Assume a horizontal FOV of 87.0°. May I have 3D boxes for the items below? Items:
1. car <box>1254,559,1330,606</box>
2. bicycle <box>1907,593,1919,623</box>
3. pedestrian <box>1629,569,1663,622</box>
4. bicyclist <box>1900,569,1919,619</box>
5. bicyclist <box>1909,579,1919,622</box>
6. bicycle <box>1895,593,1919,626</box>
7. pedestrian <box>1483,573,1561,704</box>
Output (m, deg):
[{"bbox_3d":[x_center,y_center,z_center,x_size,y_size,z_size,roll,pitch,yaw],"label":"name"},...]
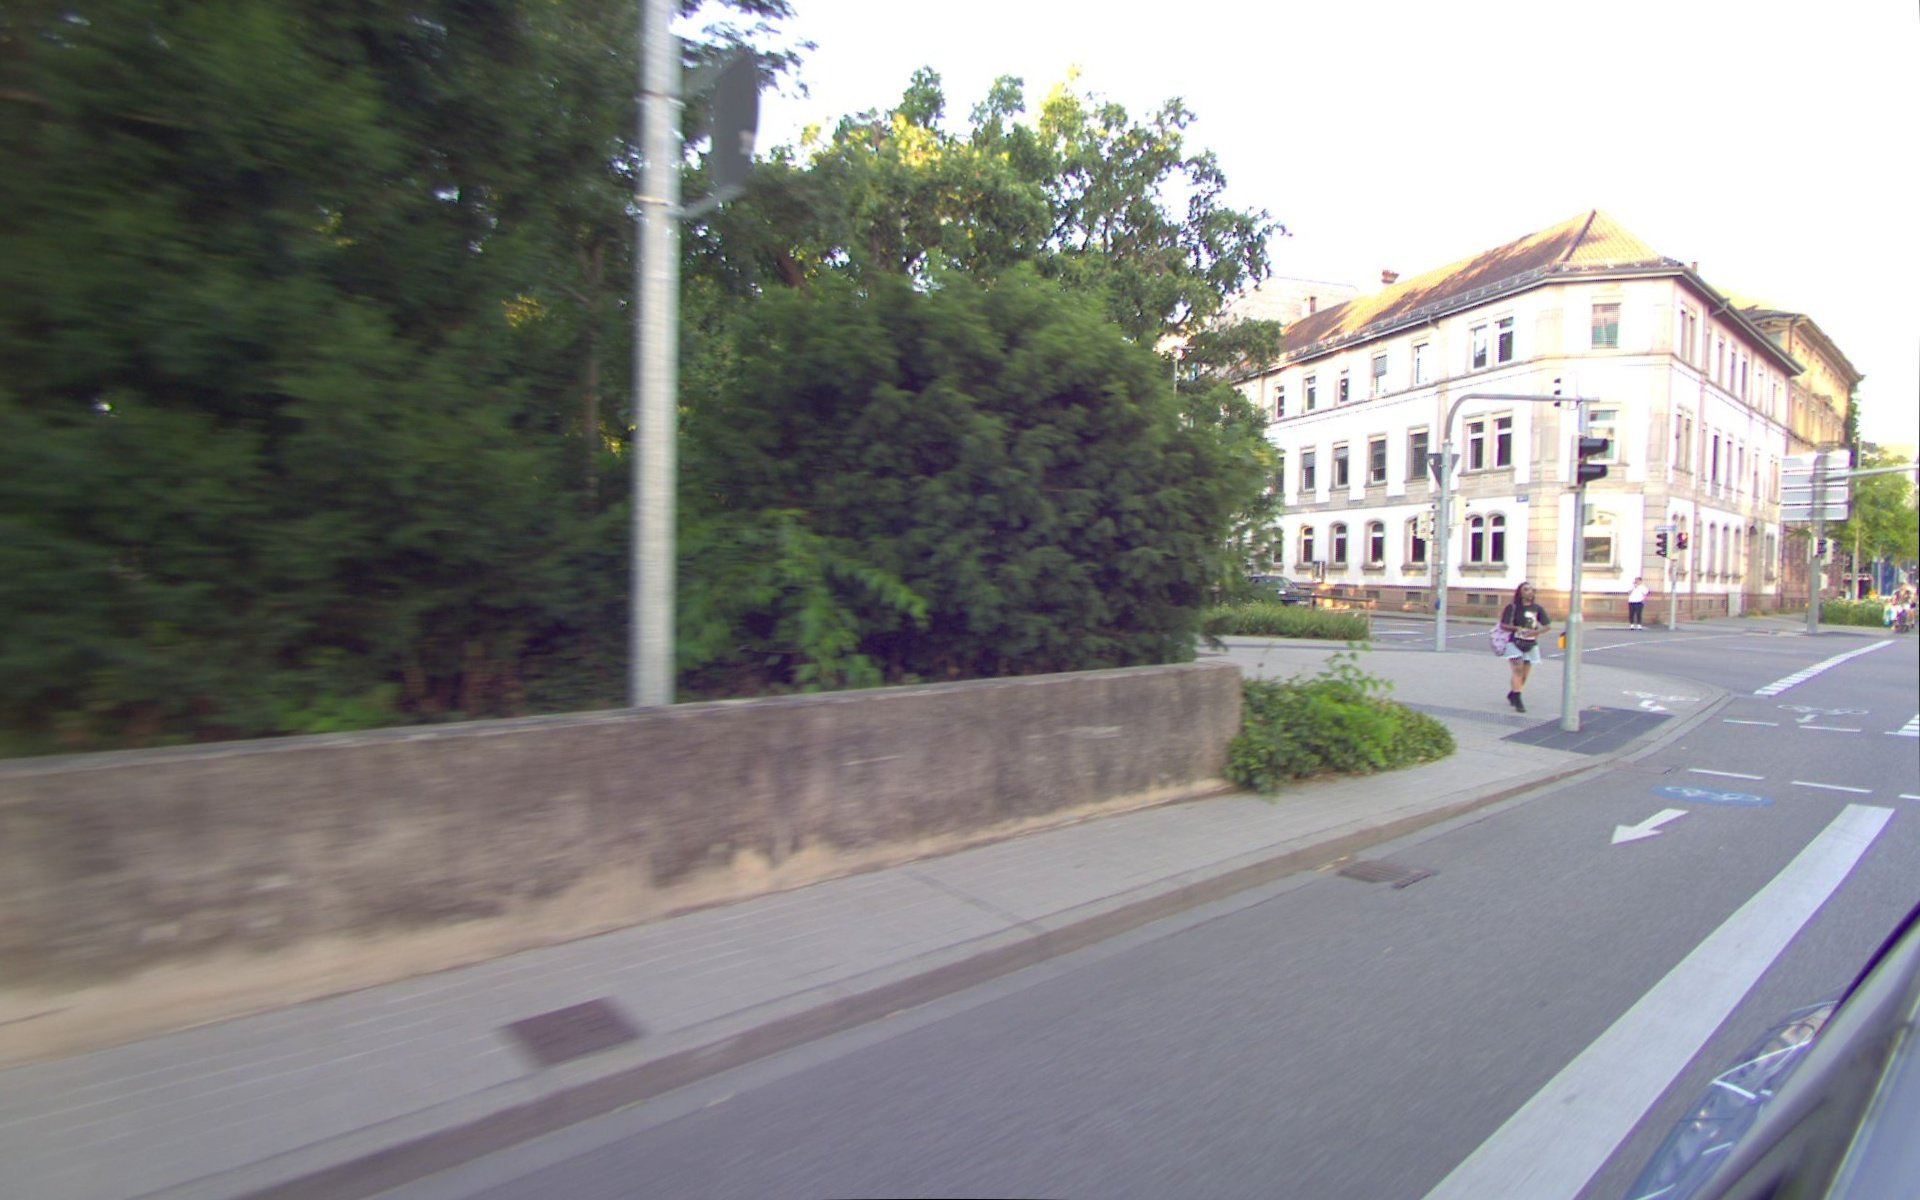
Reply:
[{"bbox_3d":[12.422,-0.620,38.073,1.798,1.535,3.571,6,0,5],"label":"car"},{"bbox_3d":[35.696,0.306,37.535,2.007,1.064,0.517,0,3,-39],"label":"bicycle"},{"bbox_3d":[22.515,-0.152,33.222,0.811,1.677,0.630,2,2,29],"label":"pedestrian"},{"bbox_3d":[34.080,-0.236,36.164,0.754,1.721,0.510,-2,6,-38],"label":"bicyclist"},{"bbox_3d":[35.486,0.025,37.344,0.680,1.567,0.512,0,3,-39],"label":"bicyclist"},{"bbox_3d":[34.080,0.330,36.218,2.011,1.063,0.529,-2,6,-39],"label":"bicycle"},{"bbox_3d":[6.785,0.445,12.224,0.607,1.522,0.581,0,2,-36],"label":"pedestrian"}]
